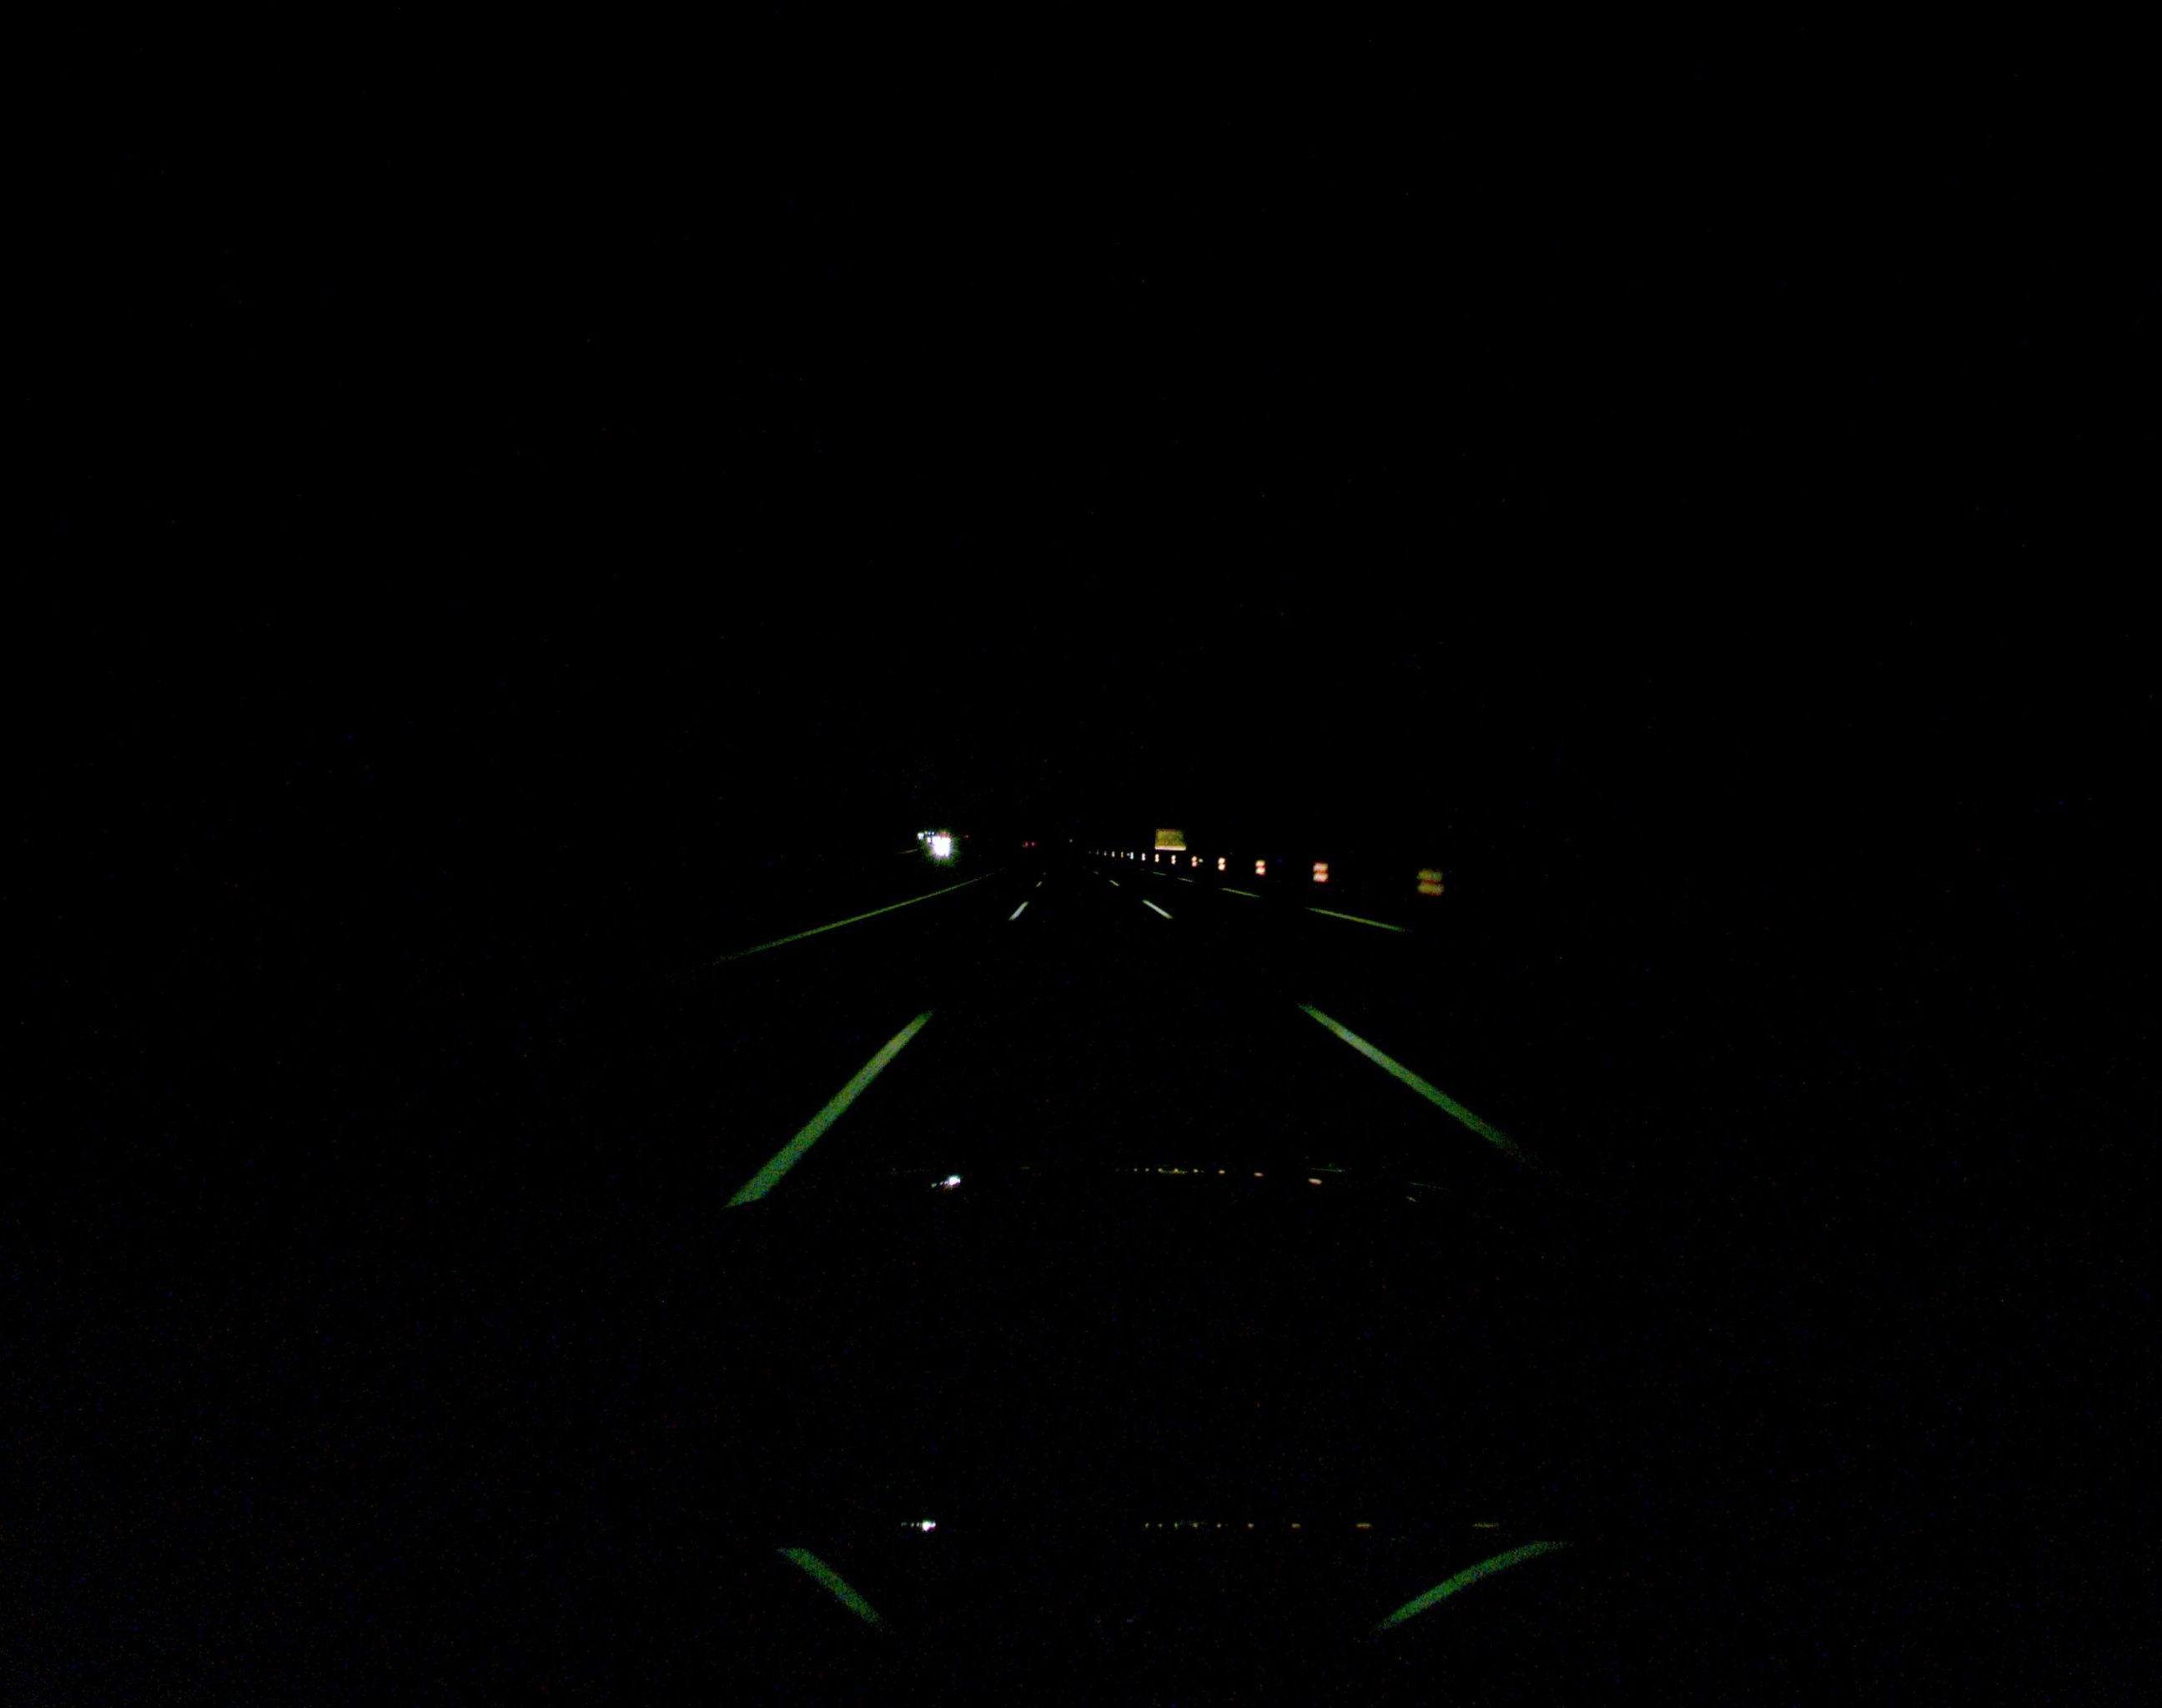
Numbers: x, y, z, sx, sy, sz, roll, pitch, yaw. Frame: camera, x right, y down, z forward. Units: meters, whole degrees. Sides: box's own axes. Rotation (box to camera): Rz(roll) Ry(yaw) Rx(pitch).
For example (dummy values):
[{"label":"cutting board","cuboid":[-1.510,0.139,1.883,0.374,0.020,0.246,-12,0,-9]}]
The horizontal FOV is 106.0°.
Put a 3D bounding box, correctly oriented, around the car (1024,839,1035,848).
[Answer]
[{"label":"car","cuboid":[-14.795,-3.039,232.795,2.526,2.553,6.035,1,1,-8]}]
